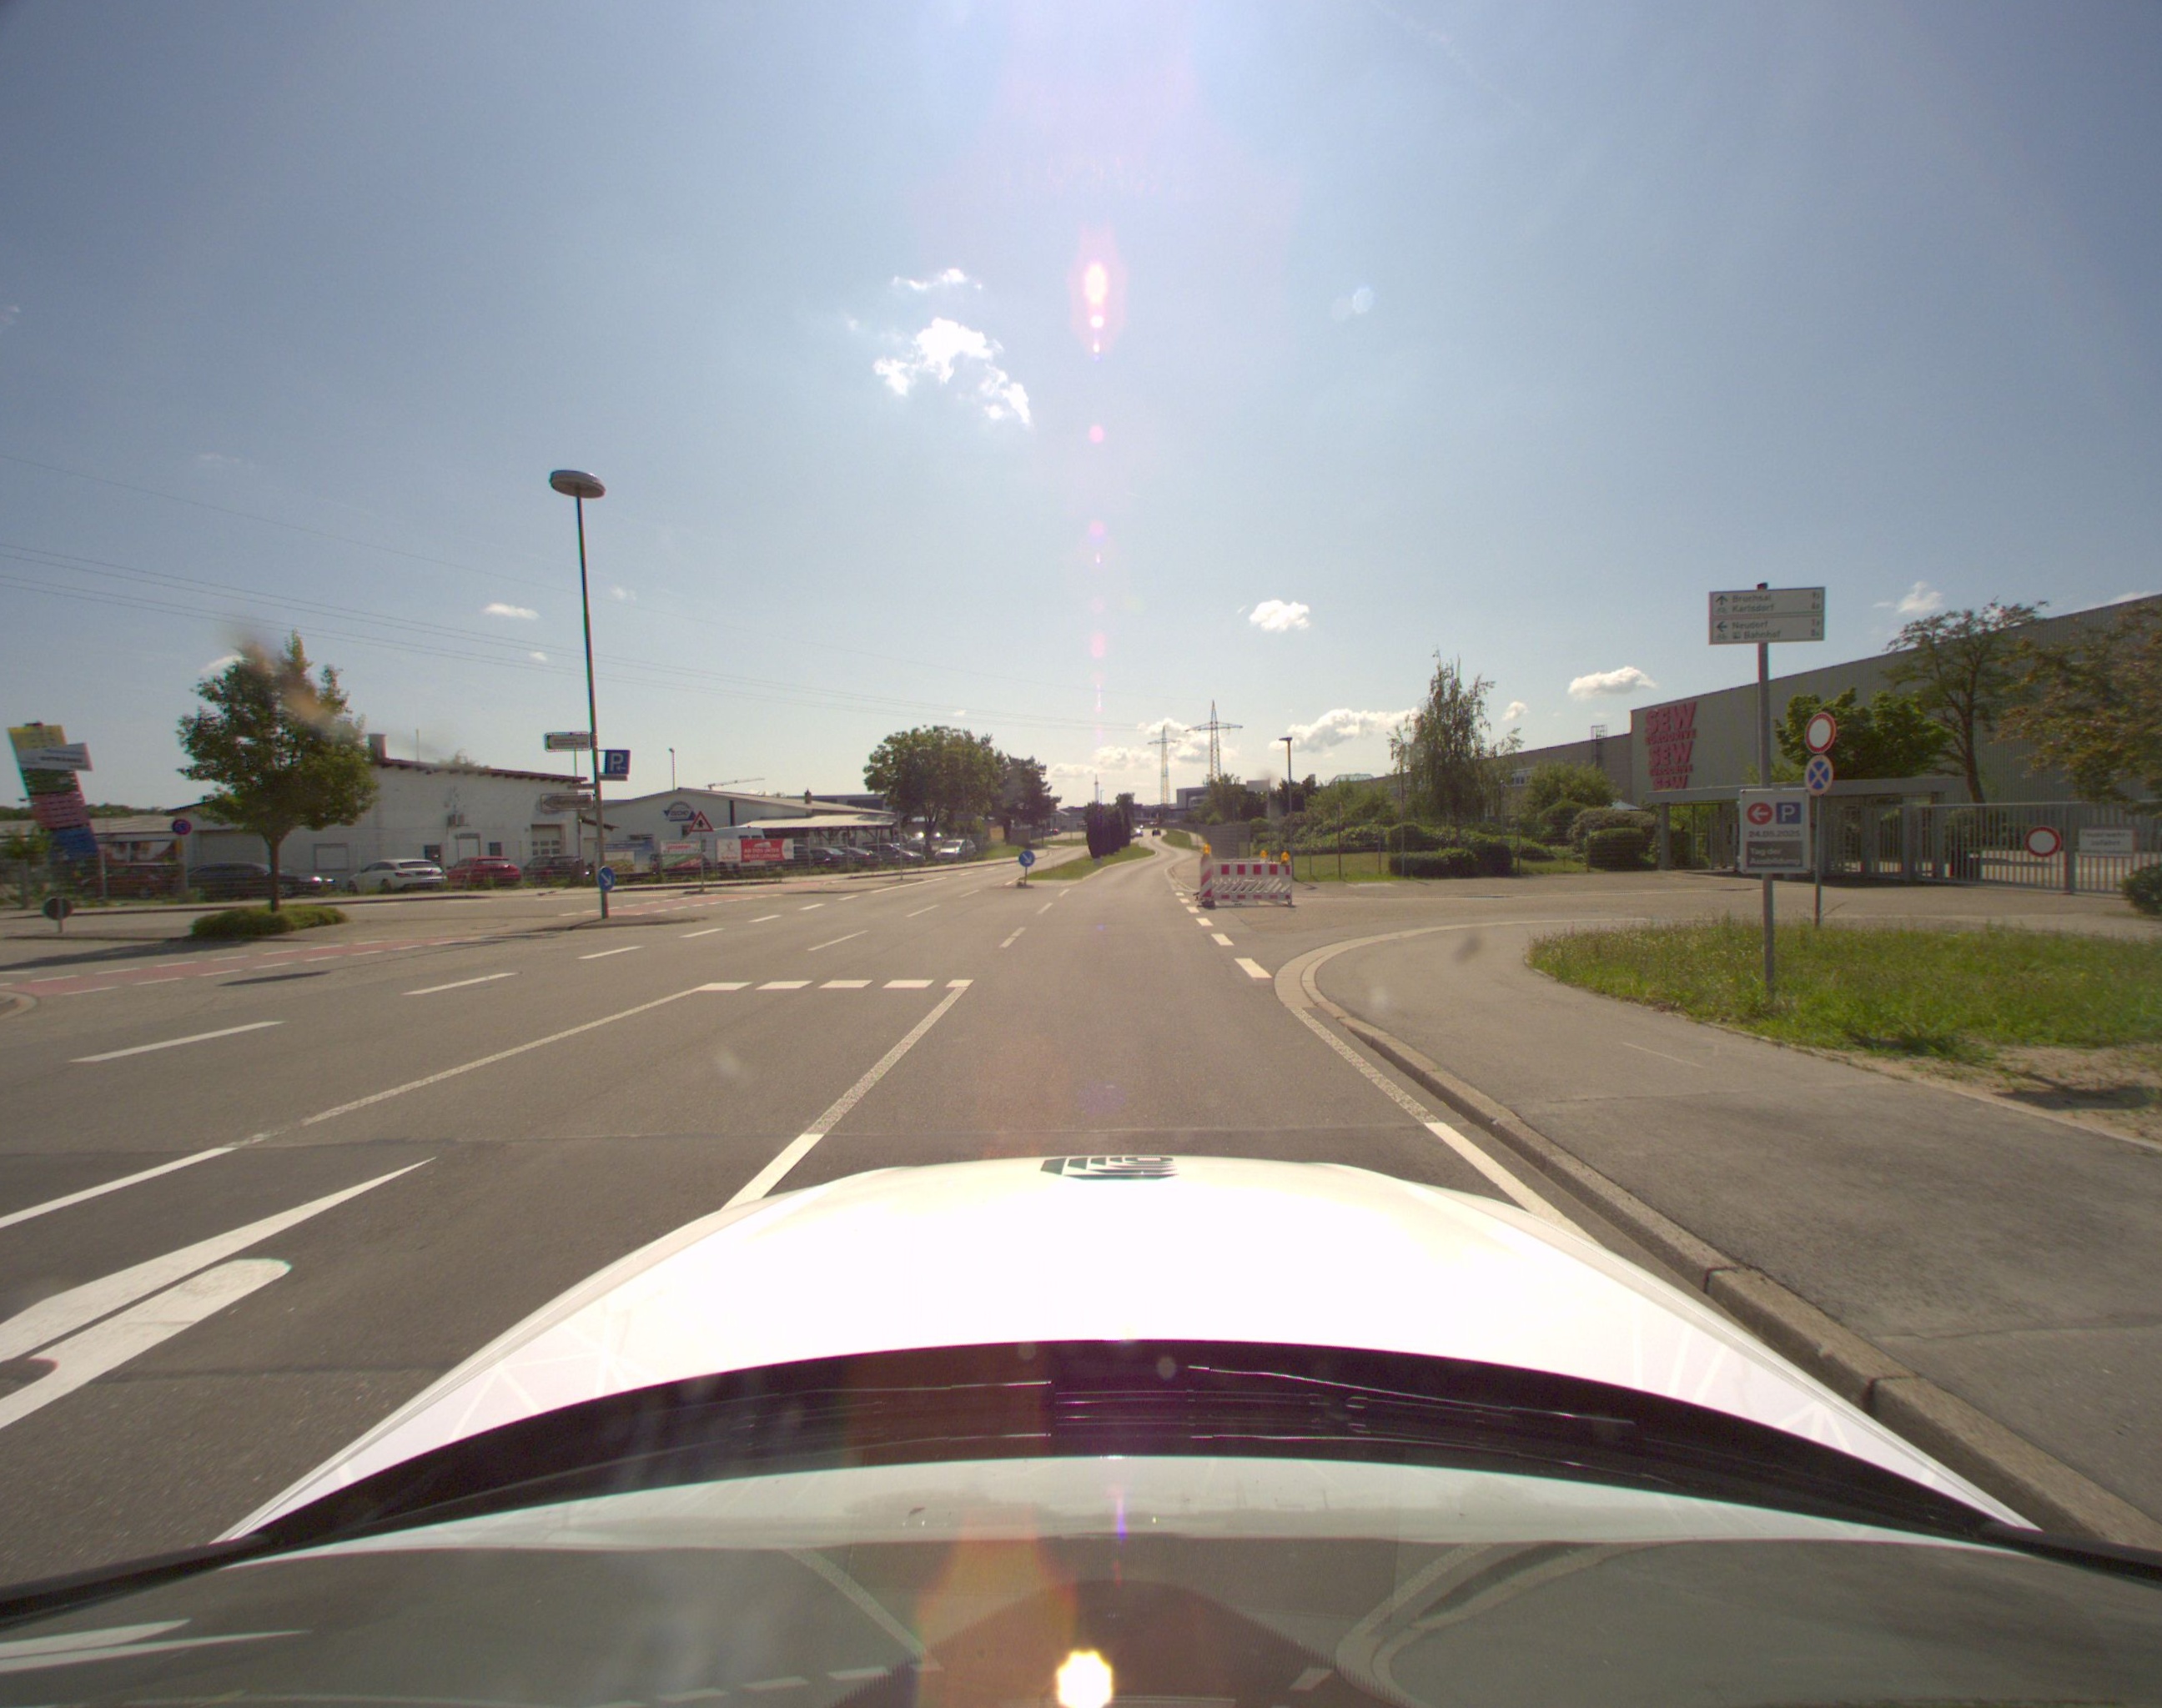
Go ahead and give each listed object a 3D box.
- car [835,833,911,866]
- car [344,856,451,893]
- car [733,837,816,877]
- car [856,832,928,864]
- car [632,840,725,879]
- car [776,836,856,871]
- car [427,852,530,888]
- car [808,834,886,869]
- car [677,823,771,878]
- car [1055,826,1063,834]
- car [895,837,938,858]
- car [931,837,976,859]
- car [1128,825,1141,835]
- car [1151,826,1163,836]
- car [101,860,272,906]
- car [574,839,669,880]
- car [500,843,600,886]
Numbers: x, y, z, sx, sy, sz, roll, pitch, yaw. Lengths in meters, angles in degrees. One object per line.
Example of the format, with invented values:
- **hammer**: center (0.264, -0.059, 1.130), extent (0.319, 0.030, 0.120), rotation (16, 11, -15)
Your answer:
- **car**: center (-12.510, -0.282, 48.991), extent (3.951, 1.903, 2.012), rotation (0, 3, 24)
- **car**: center (-26.788, 0.794, 31.900), extent (3.883, 1.338, 1.736), rotation (-1, 0, 26)
- **car**: center (-15.956, 0.122, 42.349), extent (3.949, 1.903, 2.013), rotation (1, 3, 32)
- **car**: center (-11.923, -0.396, 51.384), extent (3.952, 1.903, 2.011), rotation (0, 3, 22)
- **car**: center (-18.977, 0.213, 38.370), extent (3.949, 1.653, 2.013), rotation (1, 3, 30)
- **car**: center (-14.508, -0.067, 44.541), extent (3.949, 1.780, 2.013), rotation (1, 3, 32)
- **car**: center (-24.635, 0.635, 33.276), extent (3.948, 1.376, 2.013), rotation (-1, 0, 31)
- **car**: center (-13.496, -0.176, 46.968), extent (3.950, 1.903, 2.013), rotation (0, 3, 28)
- **car**: center (-17.669, -0.150, 40.301), extent (4.310, 2.608, 2.012), rotation (-1, 0, 29)
- **car**: center (-6.212, -6.713, 229.136), extent (1.985, 2.013, 4.005), rotation (-1, 1, 4)
- **car**: center (-15.834, -0.630, 78.751), extent (3.987, 1.850, 1.828), rotation (-2, 1, -10)
- **car**: center (-9.110, -0.450, 58.410), extent (1.815, 1.517, 3.603), rotation (-1, 1, 15)
- **car**: center (10.986, -4.939, 166.978), extent (2.480, 2.013, 4.670), rotation (-1, 2, 3)
- **car**: center (15.714, -4.799, 169.515), extent (2.262, 1.946, 4.669), rotation (2, 2, 3)
- **car**: center (-33.430, 1.054, 30.529), extent (3.977, 1.513, 1.999), rotation (-1, 2, -3)
- **car**: center (-20.633, 0.216, 36.537), extent (3.949, 1.679, 2.013), rotation (1, 3, 32)
- **car**: center (-22.608, 0.406, 34.672), extent (3.949, 1.653, 2.013), rotation (1, 3, 32)
